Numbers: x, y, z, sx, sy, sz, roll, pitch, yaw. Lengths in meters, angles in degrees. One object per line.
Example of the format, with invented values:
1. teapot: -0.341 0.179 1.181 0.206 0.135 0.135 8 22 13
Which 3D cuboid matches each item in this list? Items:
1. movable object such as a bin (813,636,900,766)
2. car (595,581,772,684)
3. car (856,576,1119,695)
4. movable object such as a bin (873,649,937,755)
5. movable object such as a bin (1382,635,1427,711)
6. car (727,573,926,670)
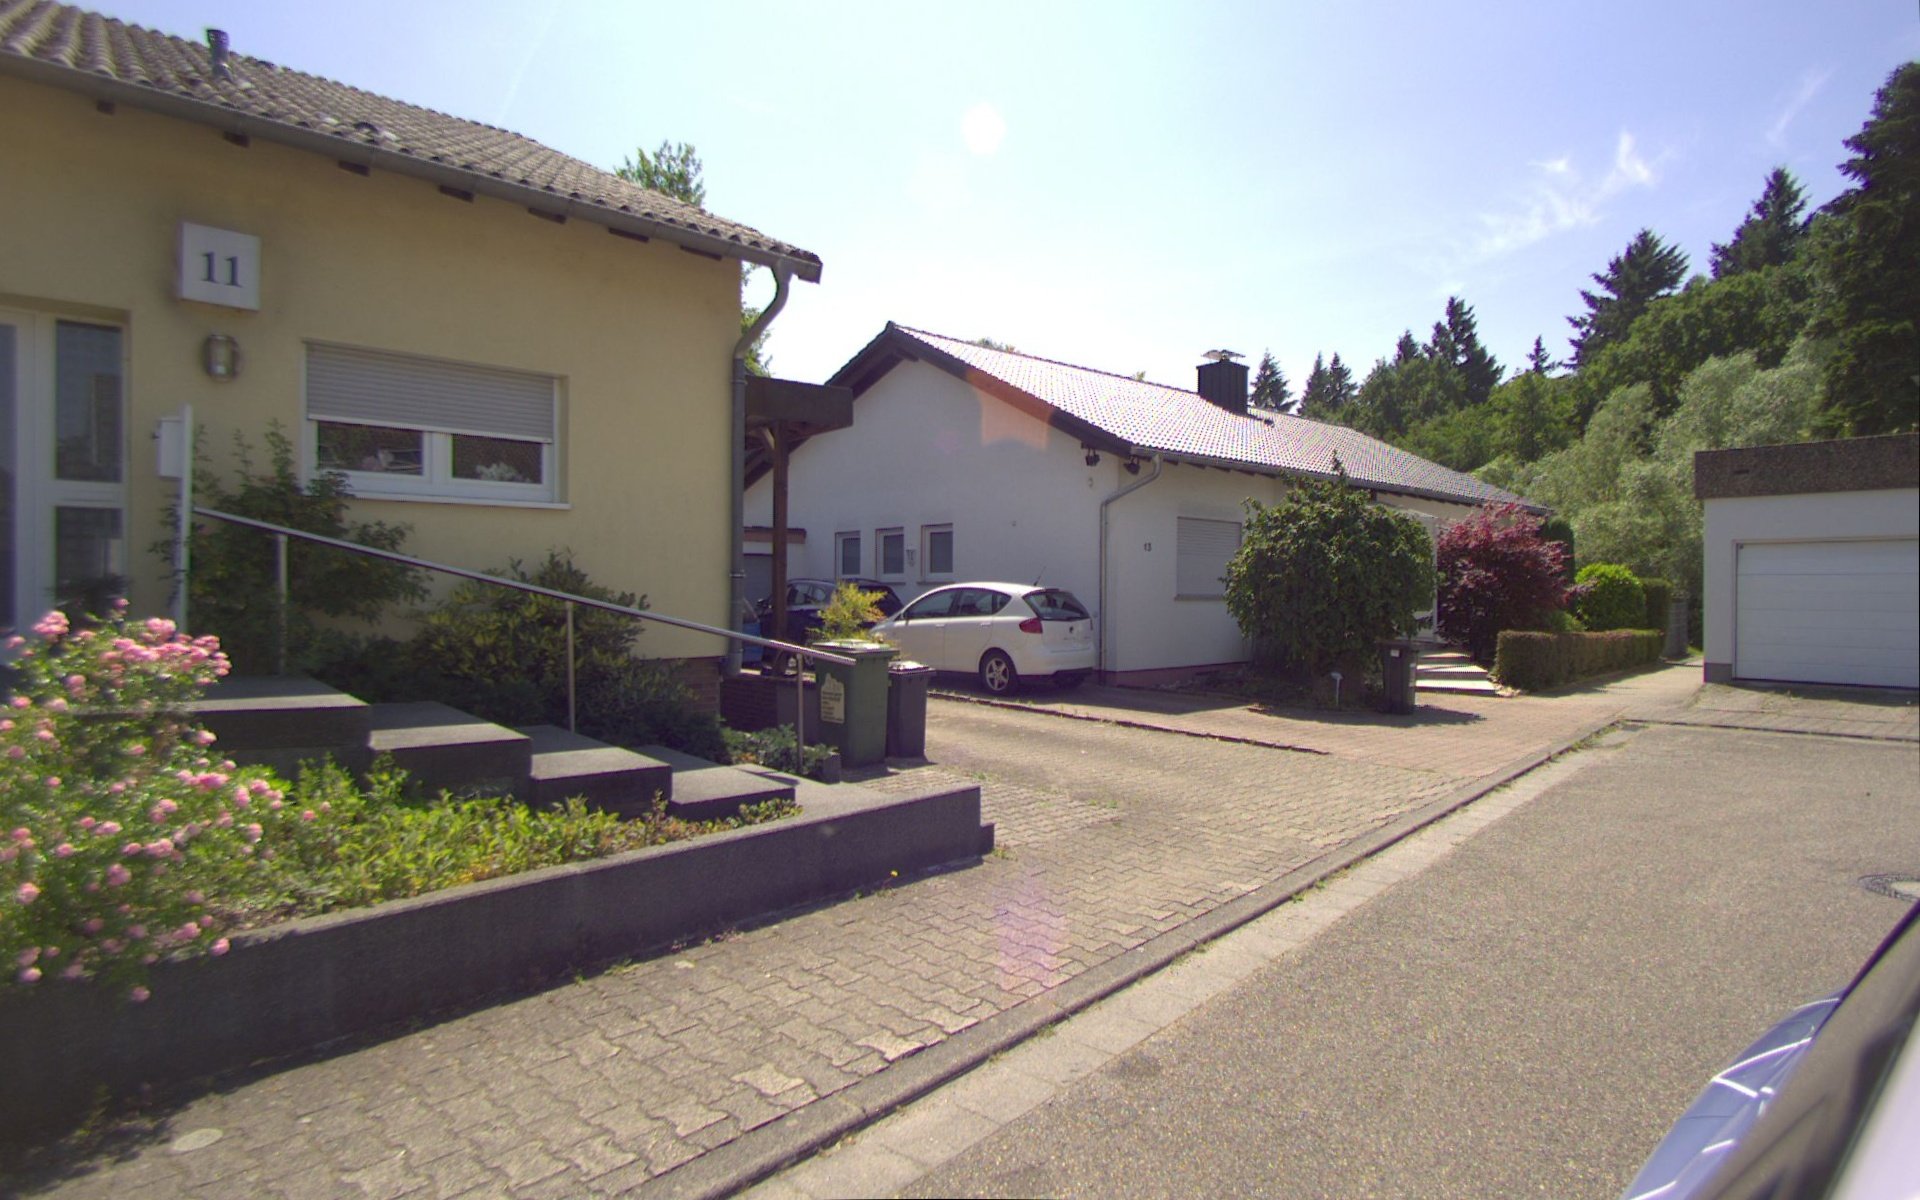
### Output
1. movable object such as a bin: -0.909 0.862 8.910 0.490 1.054 0.584 0 1 41
2. car: -4.655 0.466 16.826 1.591 1.473 3.249 0 2 -41
3. car: 0.317 0.435 15.553 1.723 1.588 3.990 0 1 -44
4. movable object such as a bin: -0.504 0.918 9.281 0.425 0.902 0.401 0 1 42
5. movable object such as a bin: 5.559 0.902 12.658 0.369 0.902 0.390 -1 1 -42
6. car: -2.617 0.306 19.138 1.895 1.628 3.995 -1 2 -40
